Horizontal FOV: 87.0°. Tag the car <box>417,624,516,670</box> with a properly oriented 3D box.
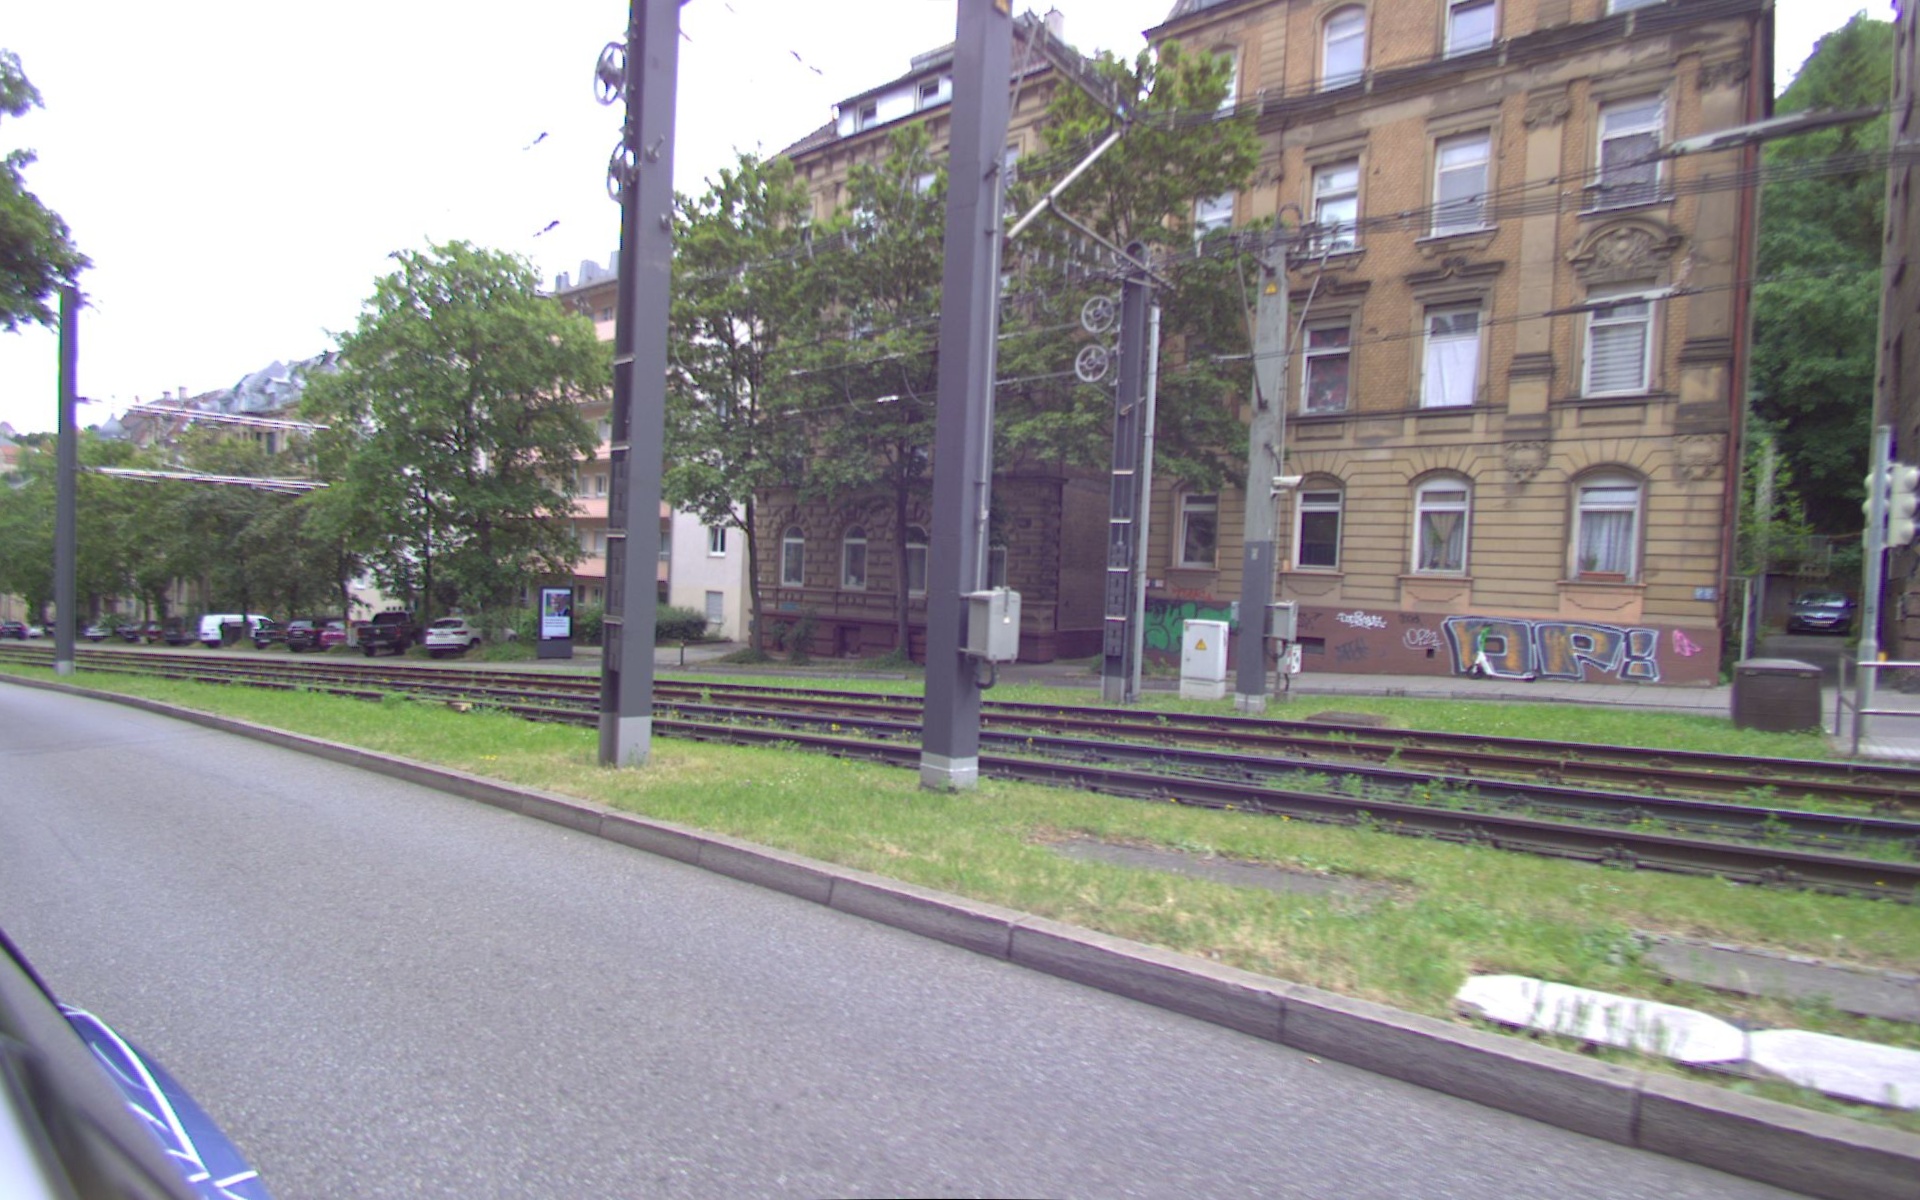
[{"bbox_3d":[-19.543,1.822,40.255,1.763,1.701,3.849,-1,-1,7],"label":"car"}]

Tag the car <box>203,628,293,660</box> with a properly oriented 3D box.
[{"bbox_3d":[-39.571,2.427,56.363,1.769,1.701,3.837,-1,-2,16],"label":"car"}]

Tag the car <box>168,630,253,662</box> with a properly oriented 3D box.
[{"bbox_3d":[-45.573,2.772,61.618,1.774,1.828,3.827,-1,-2,24],"label":"car"}]

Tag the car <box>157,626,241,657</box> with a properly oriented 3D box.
[{"bbox_3d":[-47.430,2.555,63.130,1.774,1.828,3.827,-1,-1,24],"label":"car"}]

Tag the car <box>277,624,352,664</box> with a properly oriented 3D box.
[{"bbox_3d":[-31.419,2.107,49.370,1.756,1.700,3.866,0,1,-10],"label":"car"}]

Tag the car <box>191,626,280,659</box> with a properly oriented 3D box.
[{"bbox_3d":[-41.231,2.394,57.696,1.769,1.828,3.837,-1,-2,16],"label":"car"}]

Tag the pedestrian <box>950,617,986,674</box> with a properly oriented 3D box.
[{"bbox_3d":[0.215,1.251,28.075,0.739,1.524,0.681,-2,-2,41],"label":"pedestrian"}]

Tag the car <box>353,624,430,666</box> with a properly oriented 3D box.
[{"bbox_3d":[-24.423,1.915,43.603,1.755,1.701,3.866,0,-2,-11],"label":"car"}]

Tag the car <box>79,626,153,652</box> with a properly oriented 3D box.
[{"bbox_3d":[-63.131,2.901,75.754,1.774,1.828,3.827,-1,-2,24],"label":"car"}]

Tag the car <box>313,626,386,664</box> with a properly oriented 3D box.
[{"bbox_3d":[-29.179,2.124,48.515,1.755,1.701,3.866,0,-2,-11],"label":"car"}]

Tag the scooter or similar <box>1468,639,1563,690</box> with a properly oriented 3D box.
[{"bbox_3d":[11.003,1.263,20.082,1.588,0.949,0.423,0,-1,44],"label":"scooter or similar"}]

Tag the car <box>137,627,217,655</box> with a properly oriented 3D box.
[{"bbox_3d":[-51.864,2.696,67.089,1.774,1.828,3.827,-1,-2,24],"label":"car"}]

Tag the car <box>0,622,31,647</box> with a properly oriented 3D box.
[{"bbox_3d":[-79.515,2.902,84.514,3.989,2.029,1.977,-1,-2,34],"label":"car"}]

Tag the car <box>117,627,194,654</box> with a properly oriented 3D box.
[{"bbox_3d":[-56.082,2.781,70.600,1.774,1.828,3.827,-1,-2,24],"label":"car"}]

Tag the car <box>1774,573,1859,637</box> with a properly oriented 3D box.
[{"bbox_3d":[28.889,0.197,34.232,1.997,2.029,3.948,-1,-1,38],"label":"car"}]

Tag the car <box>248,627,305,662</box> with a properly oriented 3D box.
[{"bbox_3d":[-35.764,2.279,53.064,1.754,1.701,3.870,0,-1,-23],"label":"car"}]
